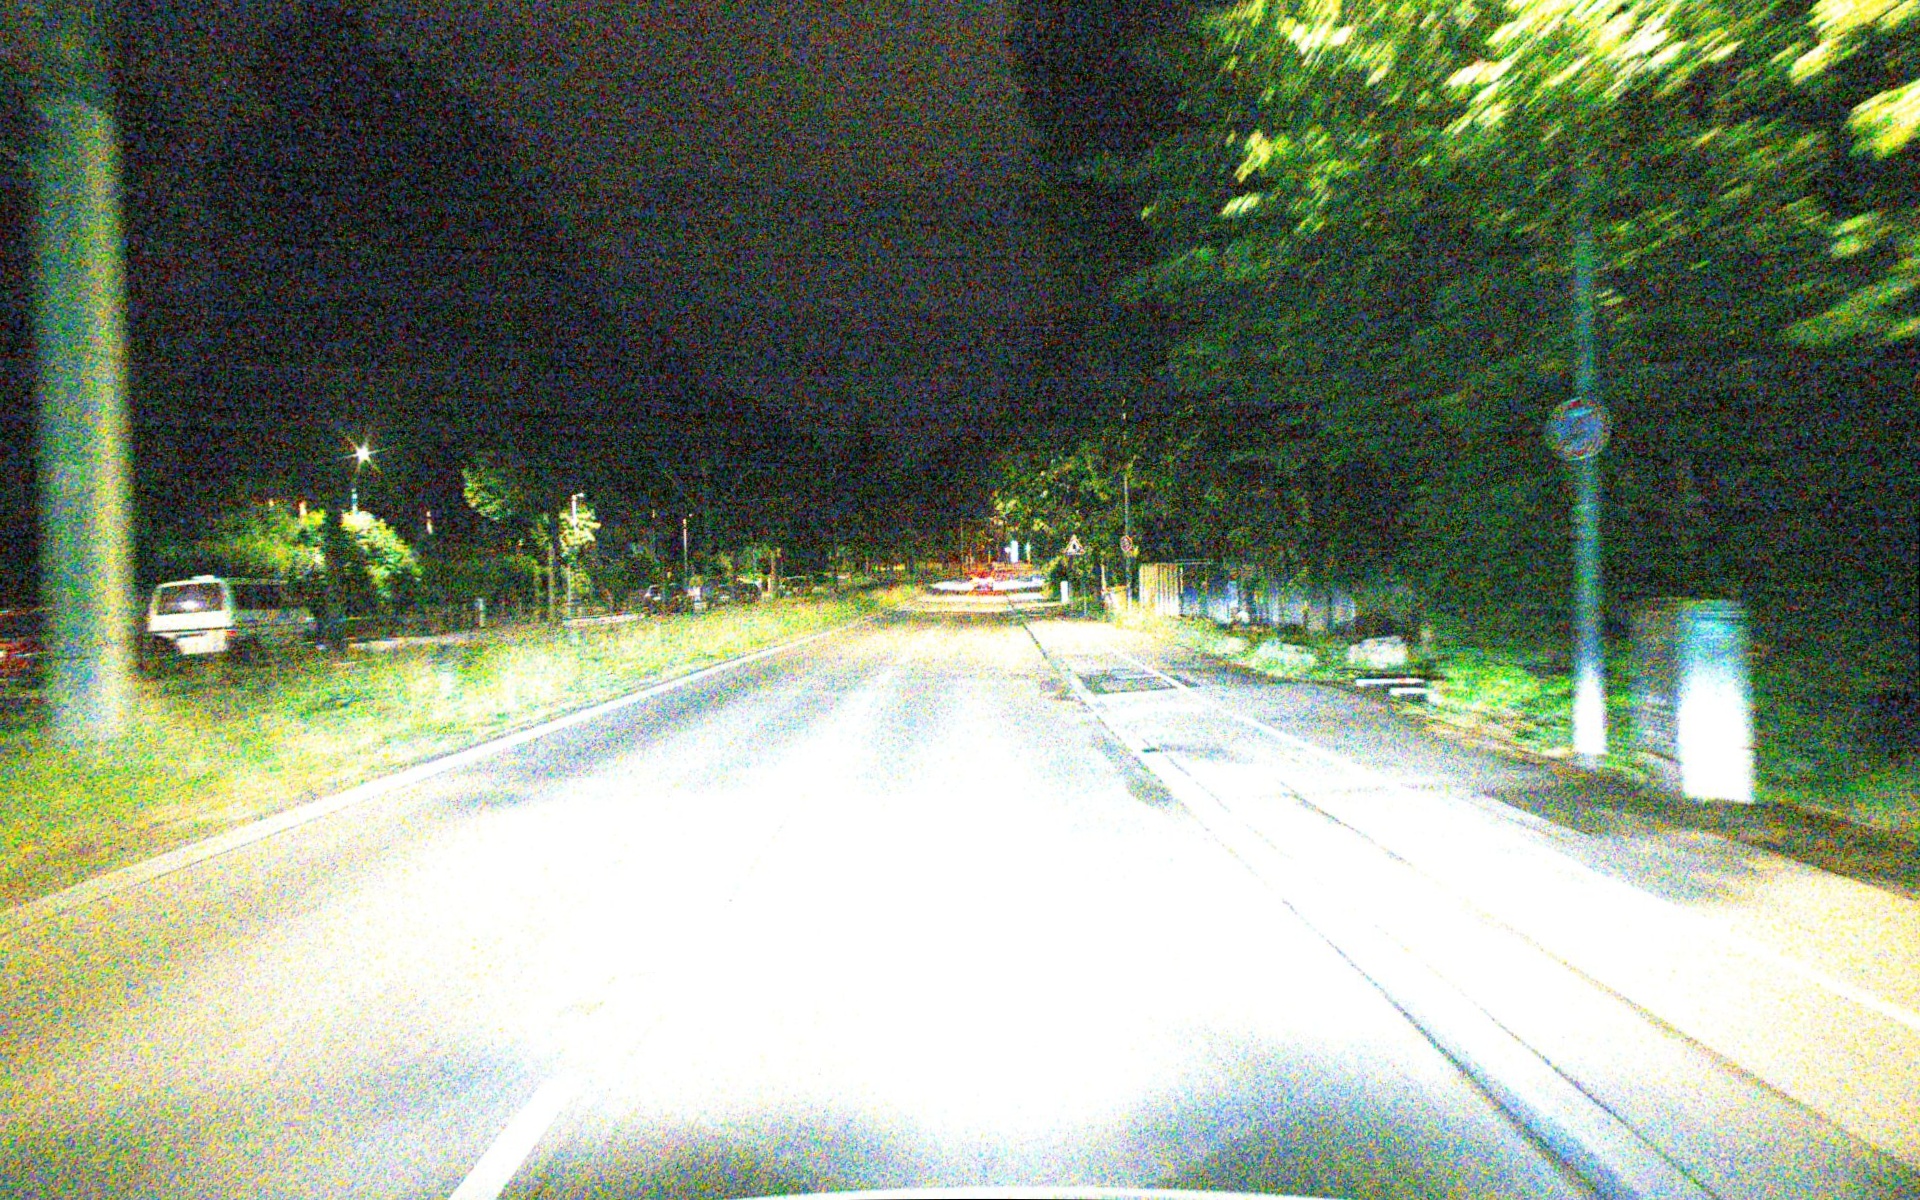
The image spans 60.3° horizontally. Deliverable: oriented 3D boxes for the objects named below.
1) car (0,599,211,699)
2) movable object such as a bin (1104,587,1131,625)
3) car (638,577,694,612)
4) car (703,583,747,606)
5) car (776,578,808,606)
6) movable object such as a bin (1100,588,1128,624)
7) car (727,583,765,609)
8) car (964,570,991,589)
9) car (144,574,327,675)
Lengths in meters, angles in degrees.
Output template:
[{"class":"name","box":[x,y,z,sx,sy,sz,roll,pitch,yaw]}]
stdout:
[{"class":"car","box":[-15.249,0.785,28.739,1.862,1.549,5.173,-1,0,3]},{"class":"movable object such as a bin","box":[5.044,0.186,53.010,0.816,1.202,0.829,-1,0,3]},{"class":"car","box":[-14.715,-0.275,83.003,1.953,1.656,4.677,-1,0,0]},{"class":"car","box":[-14.555,-0.330,102.762,1.953,1.361,5.432,-1,0,0]},{"class":"car","box":[-13.523,-0.668,133.383,2.049,2.048,4.000,-5,1,0]},{"class":"movable object such as a bin","box":[5.012,0.192,53.886,0.839,1.139,0.841,-1,0,3]},{"class":"car","box":[-14.010,-0.272,108.616,1.953,1.556,4.000,-1,1,0]},{"class":"car","box":[1.530,-1.801,145.561,2.118,1.610,4.011,0,0,-3]},{"class":"car","box":[-15.115,0.466,34.821,1.820,1.937,4.878,-1,0,-2]}]
